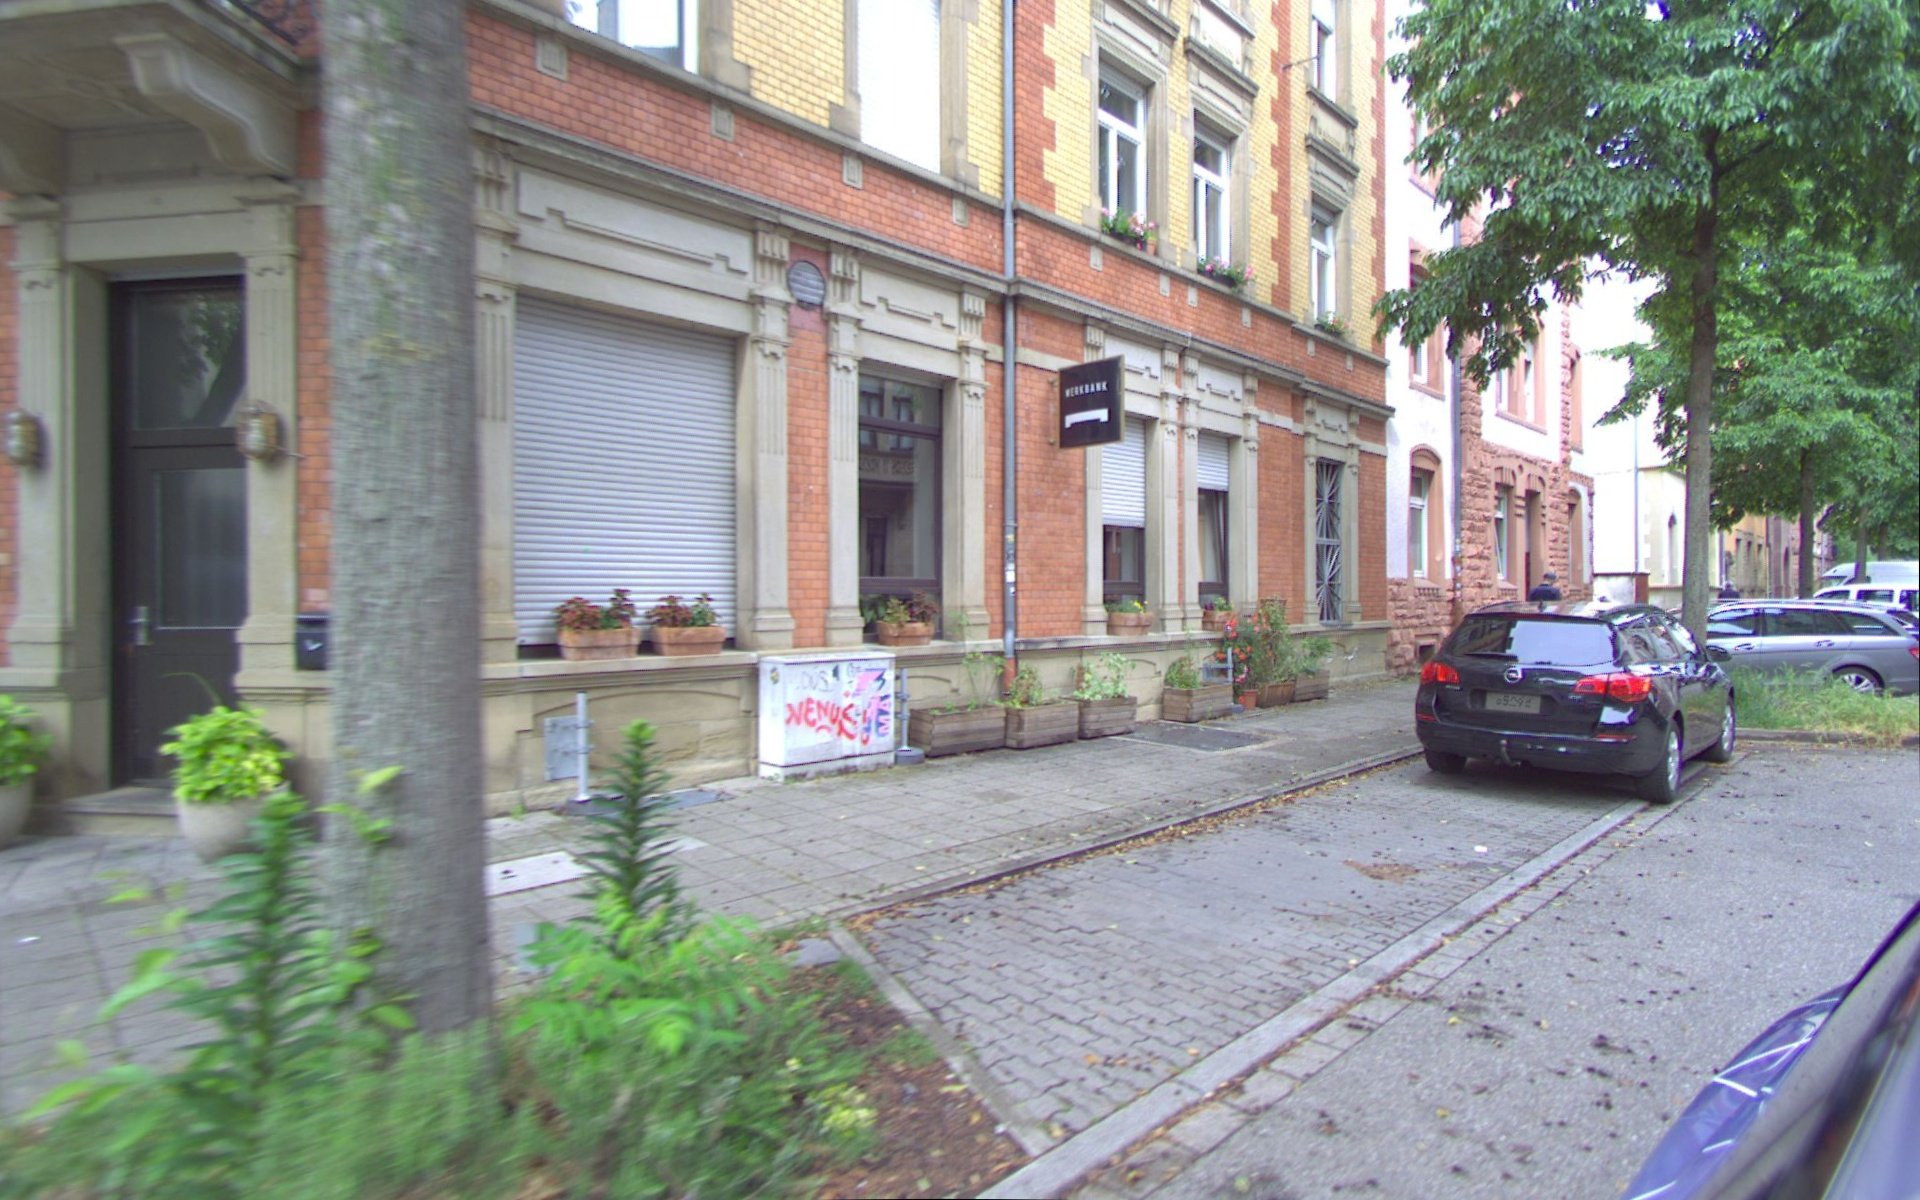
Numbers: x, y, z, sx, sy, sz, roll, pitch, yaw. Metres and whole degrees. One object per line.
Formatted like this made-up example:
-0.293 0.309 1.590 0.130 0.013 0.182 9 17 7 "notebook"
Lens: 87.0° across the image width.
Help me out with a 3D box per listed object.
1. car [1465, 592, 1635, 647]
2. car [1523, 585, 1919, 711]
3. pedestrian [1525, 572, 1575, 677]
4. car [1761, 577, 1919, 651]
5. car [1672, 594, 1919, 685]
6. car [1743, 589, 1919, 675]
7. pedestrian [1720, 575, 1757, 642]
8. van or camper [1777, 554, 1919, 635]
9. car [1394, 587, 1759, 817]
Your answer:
17.071 0.529 29.406 1.583 1.472 3.989 0 0 -44 "car"
10.454 0.590 13.883 4.377 1.445 1.753 2 2 12 "car"
10.065 0.404 17.259 0.597 1.755 0.653 0 0 44 "pedestrian"
23.788 0.344 26.597 1.687 1.834 4.000 0 0 -35 "car"
14.909 0.644 17.668 3.640 1.485 1.698 0 0 15 "car"
17.653 0.597 19.690 3.430 1.583 1.772 -1 -1 24 "car"
21.961 0.235 28.549 0.803 1.835 0.701 0 -1 -44 "pedestrian"
30.940 -0.197 33.962 4.997 2.623 2.064 0 0 16 "van or camper"
5.660 0.664 9.019 4.407 1.504 1.765 -1 2 -45 "car"
